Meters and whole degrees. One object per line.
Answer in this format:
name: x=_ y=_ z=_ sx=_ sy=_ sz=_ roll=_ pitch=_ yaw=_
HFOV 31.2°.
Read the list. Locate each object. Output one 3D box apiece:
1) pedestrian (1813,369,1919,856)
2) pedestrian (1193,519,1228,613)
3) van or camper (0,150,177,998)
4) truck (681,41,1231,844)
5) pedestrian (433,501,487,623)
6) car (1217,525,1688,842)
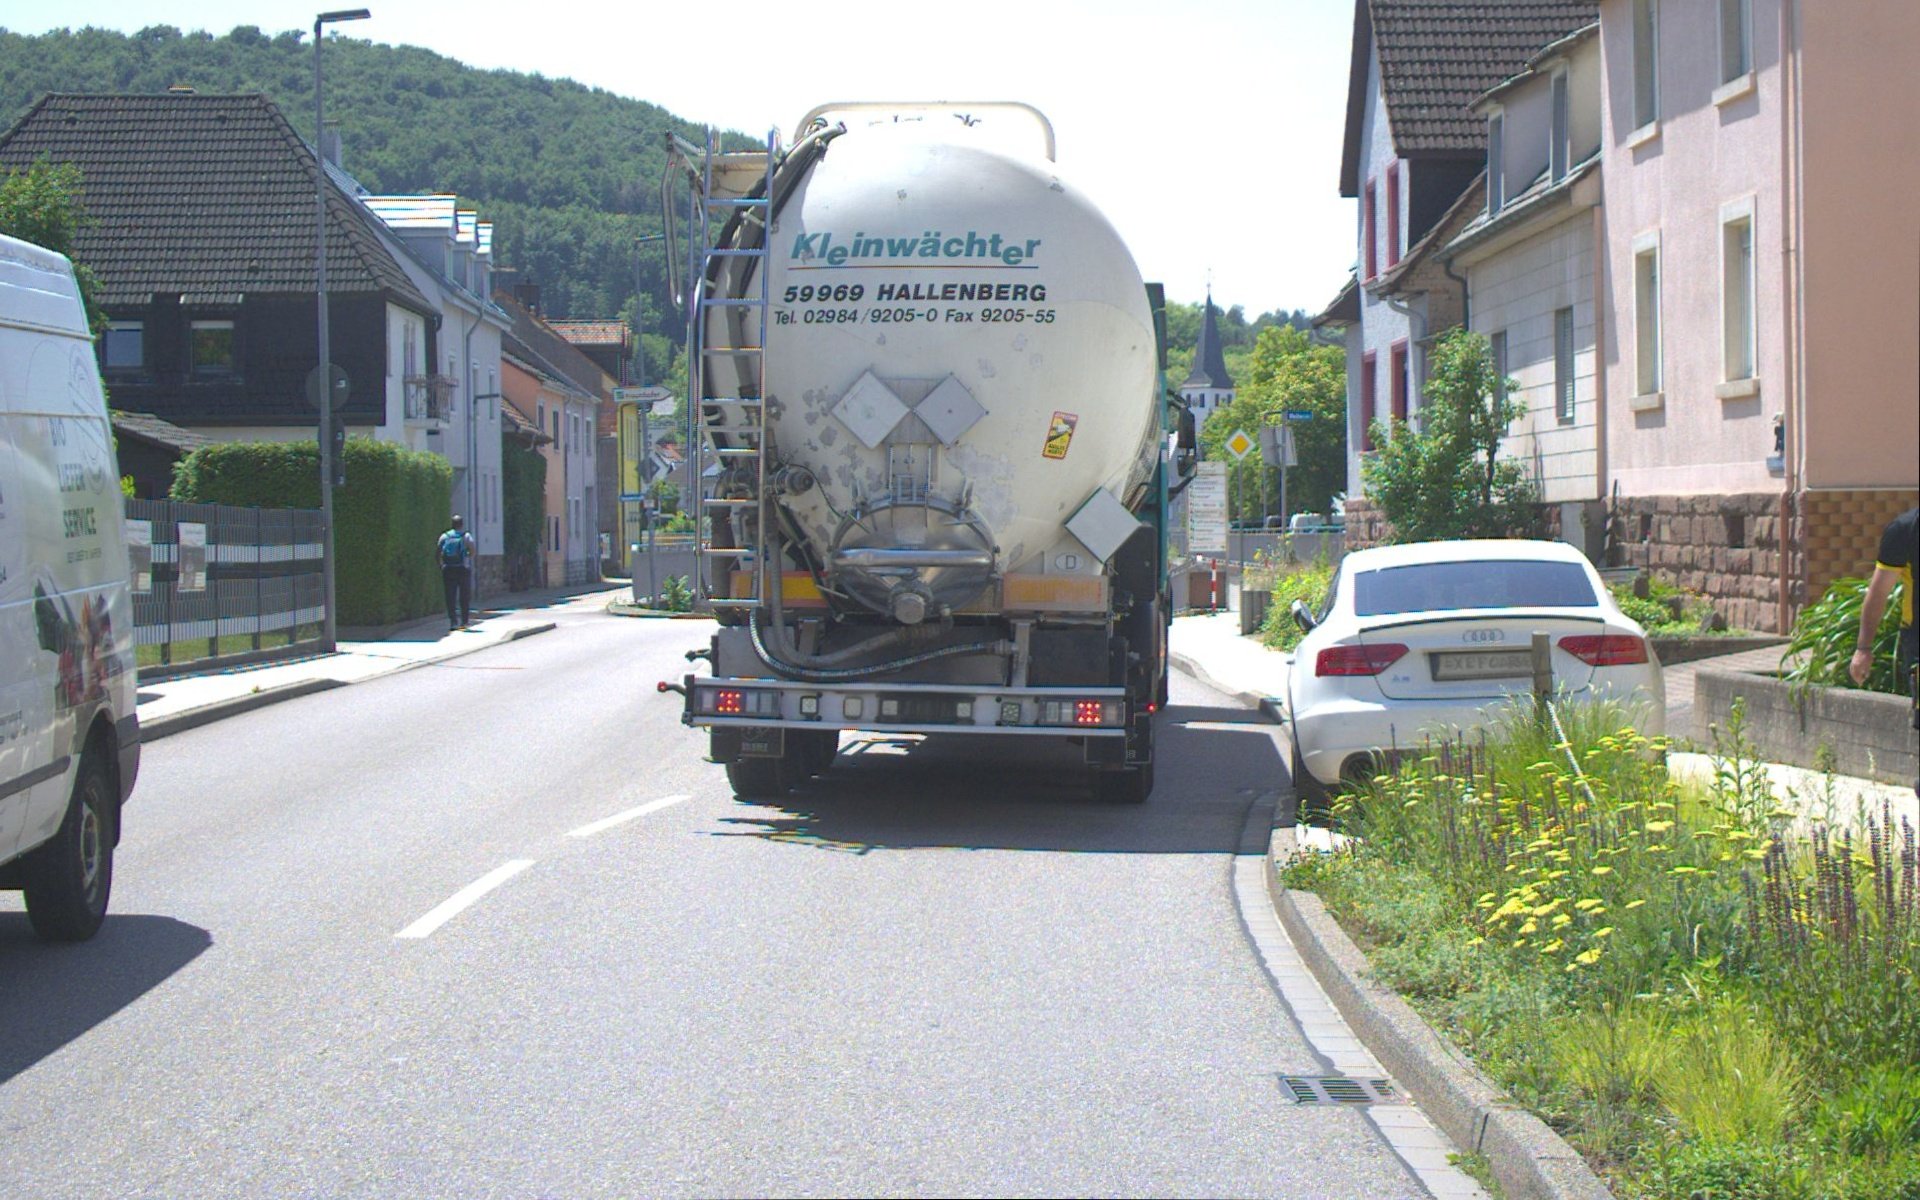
pedestrian: x=4.171 y=0.058 z=14.692 sx=0.746 sy=2.007 sz=1.033 roll=1 pitch=0 yaw=0
pedestrian: x=4.576 y=-0.621 z=62.784 sx=0.571 sy=1.688 sz=0.721 roll=1 pitch=0 yaw=3
van or camper: x=-4.077 y=-0.078 z=10.828 sx=2.037 sy=2.704 sz=5.824 roll=-1 pitch=0 yaw=-2
truck: x=-0.197 y=-0.894 z=22.929 sx=2.750 sy=4.043 sz=10.890 roll=1 pitch=1 yaw=-2
pedestrian: x=-7.570 y=-0.574 z=52.036 sx=0.712 sy=1.817 sz=0.898 roll=1 pitch=0 yaw=-5
car: x=2.472 y=0.408 z=18.364 sx=1.756 sy=1.413 sz=4.633 roll=-2 pitch=0 yaw=-1
